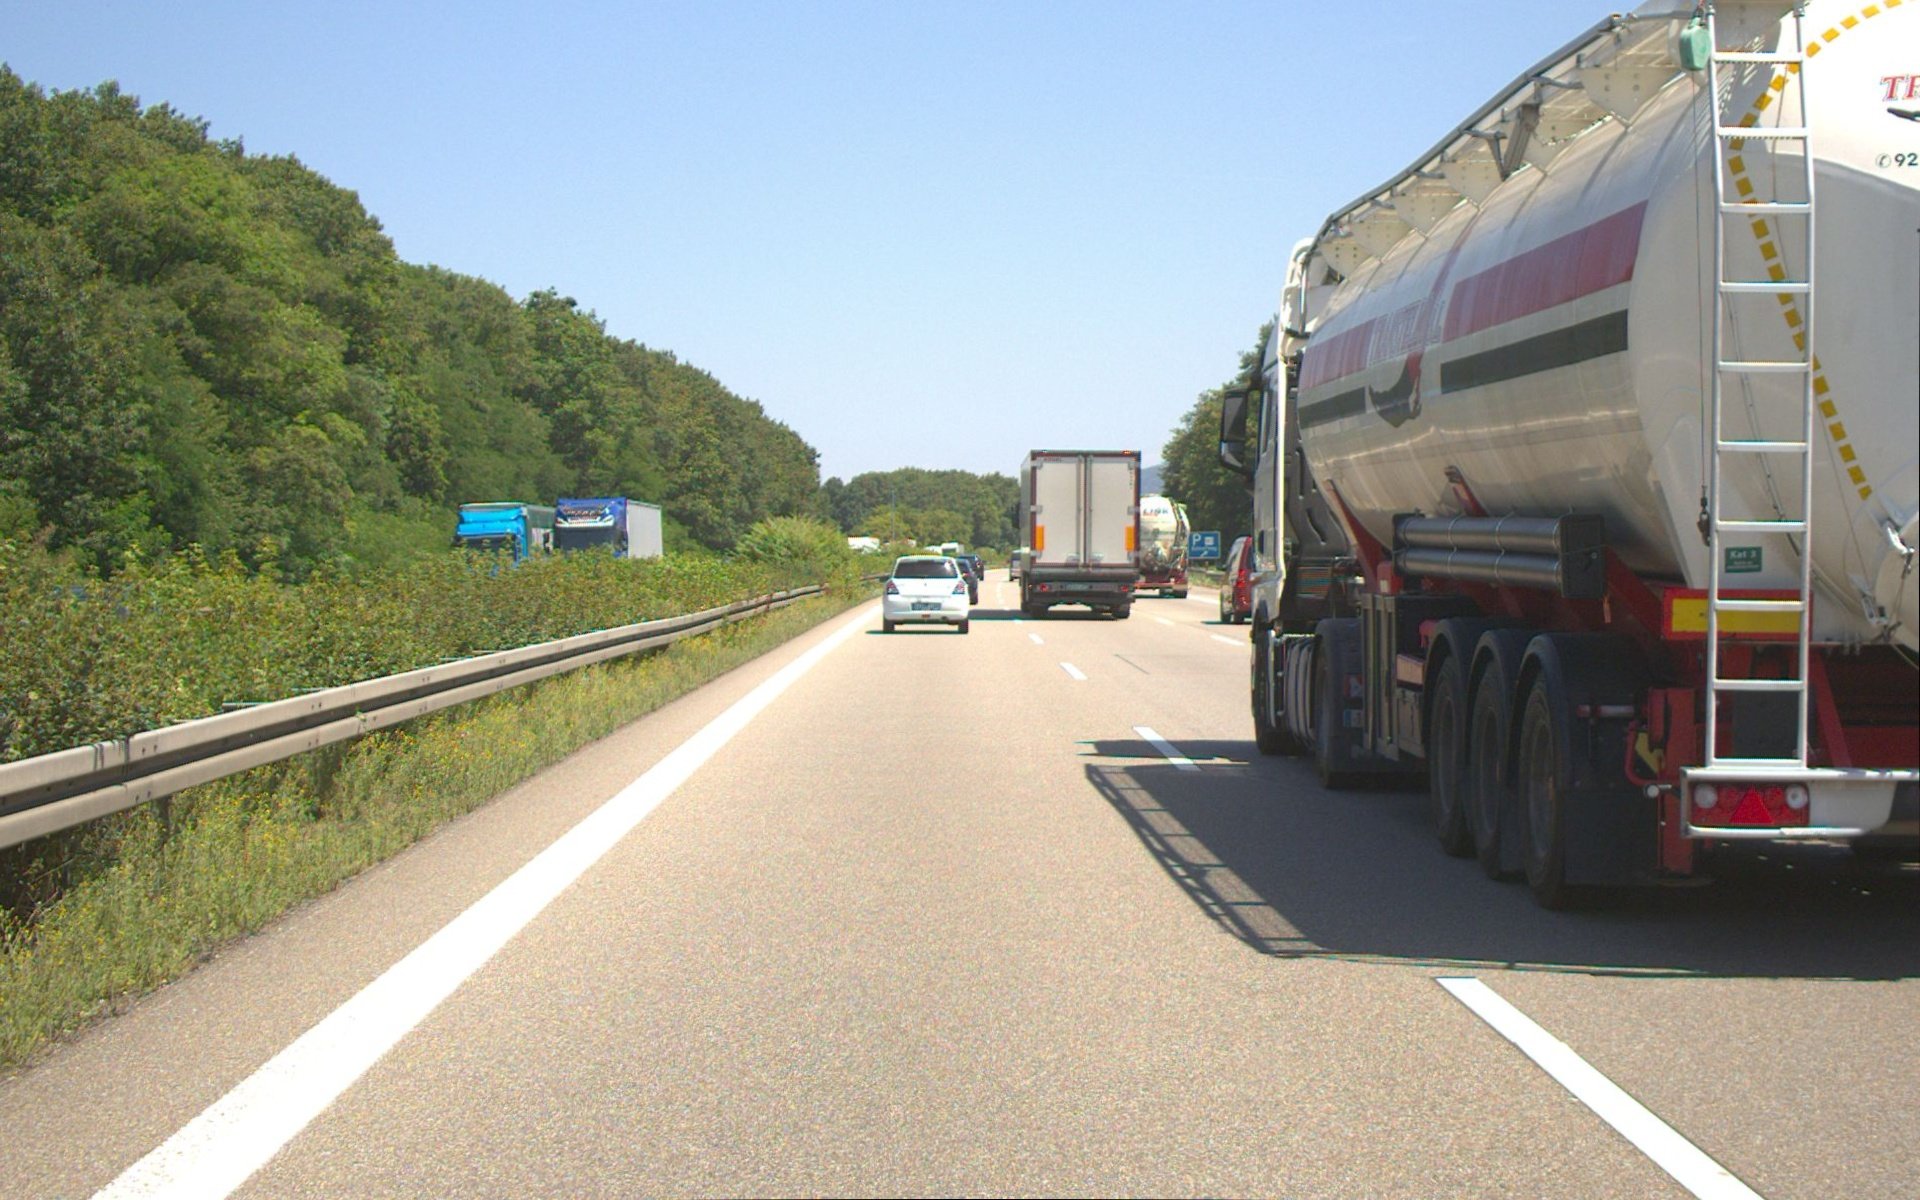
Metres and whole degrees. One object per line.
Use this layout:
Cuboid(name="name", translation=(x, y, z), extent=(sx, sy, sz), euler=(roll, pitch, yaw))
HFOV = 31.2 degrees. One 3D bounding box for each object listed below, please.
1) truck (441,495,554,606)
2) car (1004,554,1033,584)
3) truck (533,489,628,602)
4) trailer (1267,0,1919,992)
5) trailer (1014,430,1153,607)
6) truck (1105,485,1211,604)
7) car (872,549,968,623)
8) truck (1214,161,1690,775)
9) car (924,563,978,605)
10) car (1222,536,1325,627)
Cuboid(name="truck", translation=(-17.793, -1.925, 132.909), extent=(3.013, 4.100, 10.000), euler=(0, 1, 0))
Cuboid(name="car", translation=(3.484, -1.866, 204.551), extent=(1.668, 1.759, 4.000), euler=(0, 1, 0))
Cuboid(name="truck", translation=(-13.772, -1.980, 125.093), extent=(2.870, 3.996, 5.000), euler=(0, 1, 0))
Cuboid(name="trailer", translation=(3.686, -0.834, 18.104), extent=(2.790, 4.190, 12.354), euler=(0, 1, -1))
Cuboid(name="trailer", translation=(3.099, -2.009, 86.742), extent=(3.224, 4.129, 12.351), euler=(0, 1, 2))
Cuboid(name="truck", translation=(7.476, -2.108, 131.364), extent=(3.223, 4.330, 10.808), euler=(0, 1, -1))
Cuboid(name="car", translation=(-0.809, -0.294, 67.691), extent=(1.811, 1.400, 3.317), euler=(0, 1, -2))
Cuboid(name="truck", translation=(3.552, -0.940, 26.007), extent=(2.790, 4.190, 5.000), euler=(0, 1, -1))
Cuboid(name="car", translation=(-0.288, -0.526, 108.557), extent=(1.668, 1.285, 4.000), euler=(0, 1, 0))
Cuboid(name="car", translation=(7.204, -0.448, 79.461), extent=(1.856, 1.996, 5.522), euler=(1, 1, 0))
